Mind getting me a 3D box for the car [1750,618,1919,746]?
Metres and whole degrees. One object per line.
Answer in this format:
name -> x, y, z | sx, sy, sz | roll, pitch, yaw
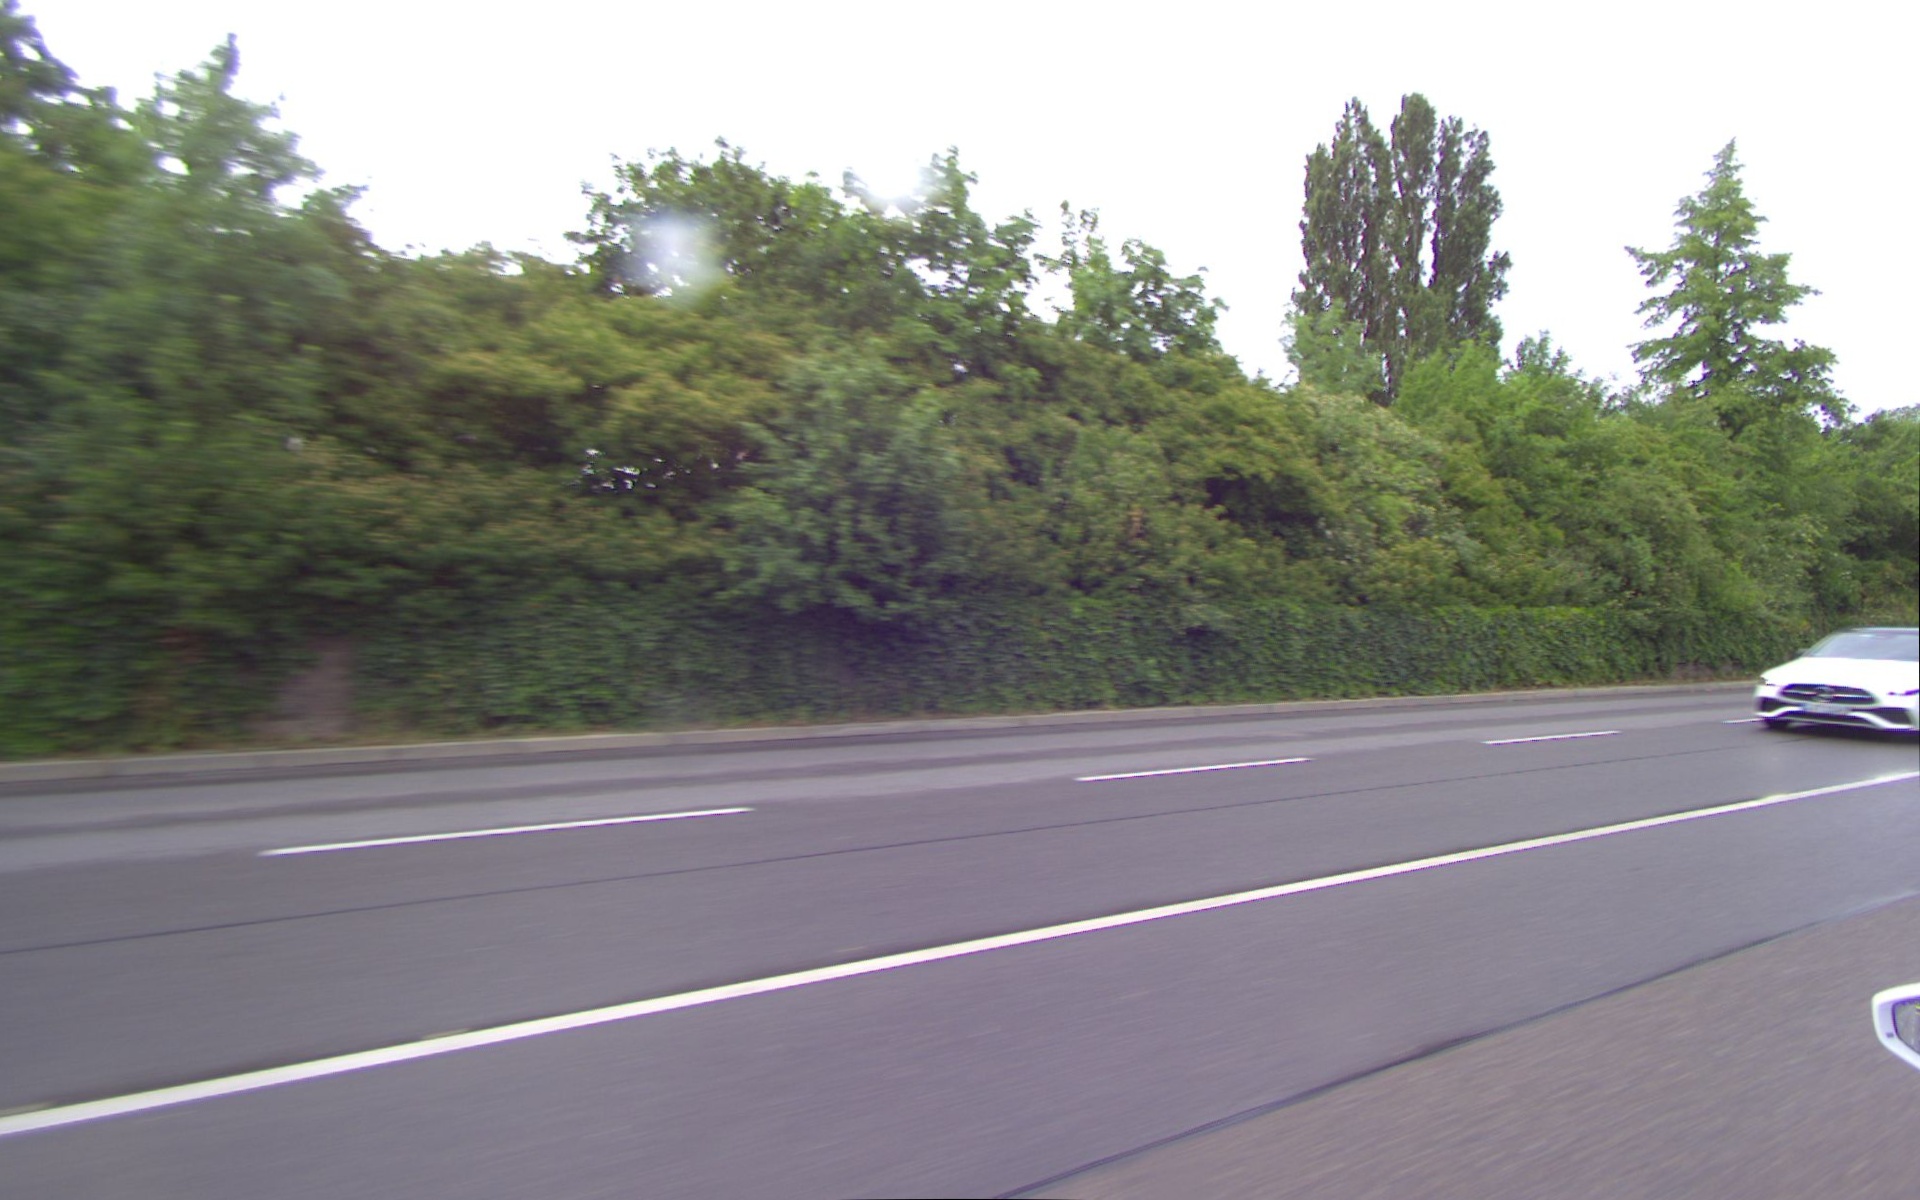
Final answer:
car -> 13.234, 1.059, 14.207 | 4.463, 1.525, 1.706 | 1, 0, -30
